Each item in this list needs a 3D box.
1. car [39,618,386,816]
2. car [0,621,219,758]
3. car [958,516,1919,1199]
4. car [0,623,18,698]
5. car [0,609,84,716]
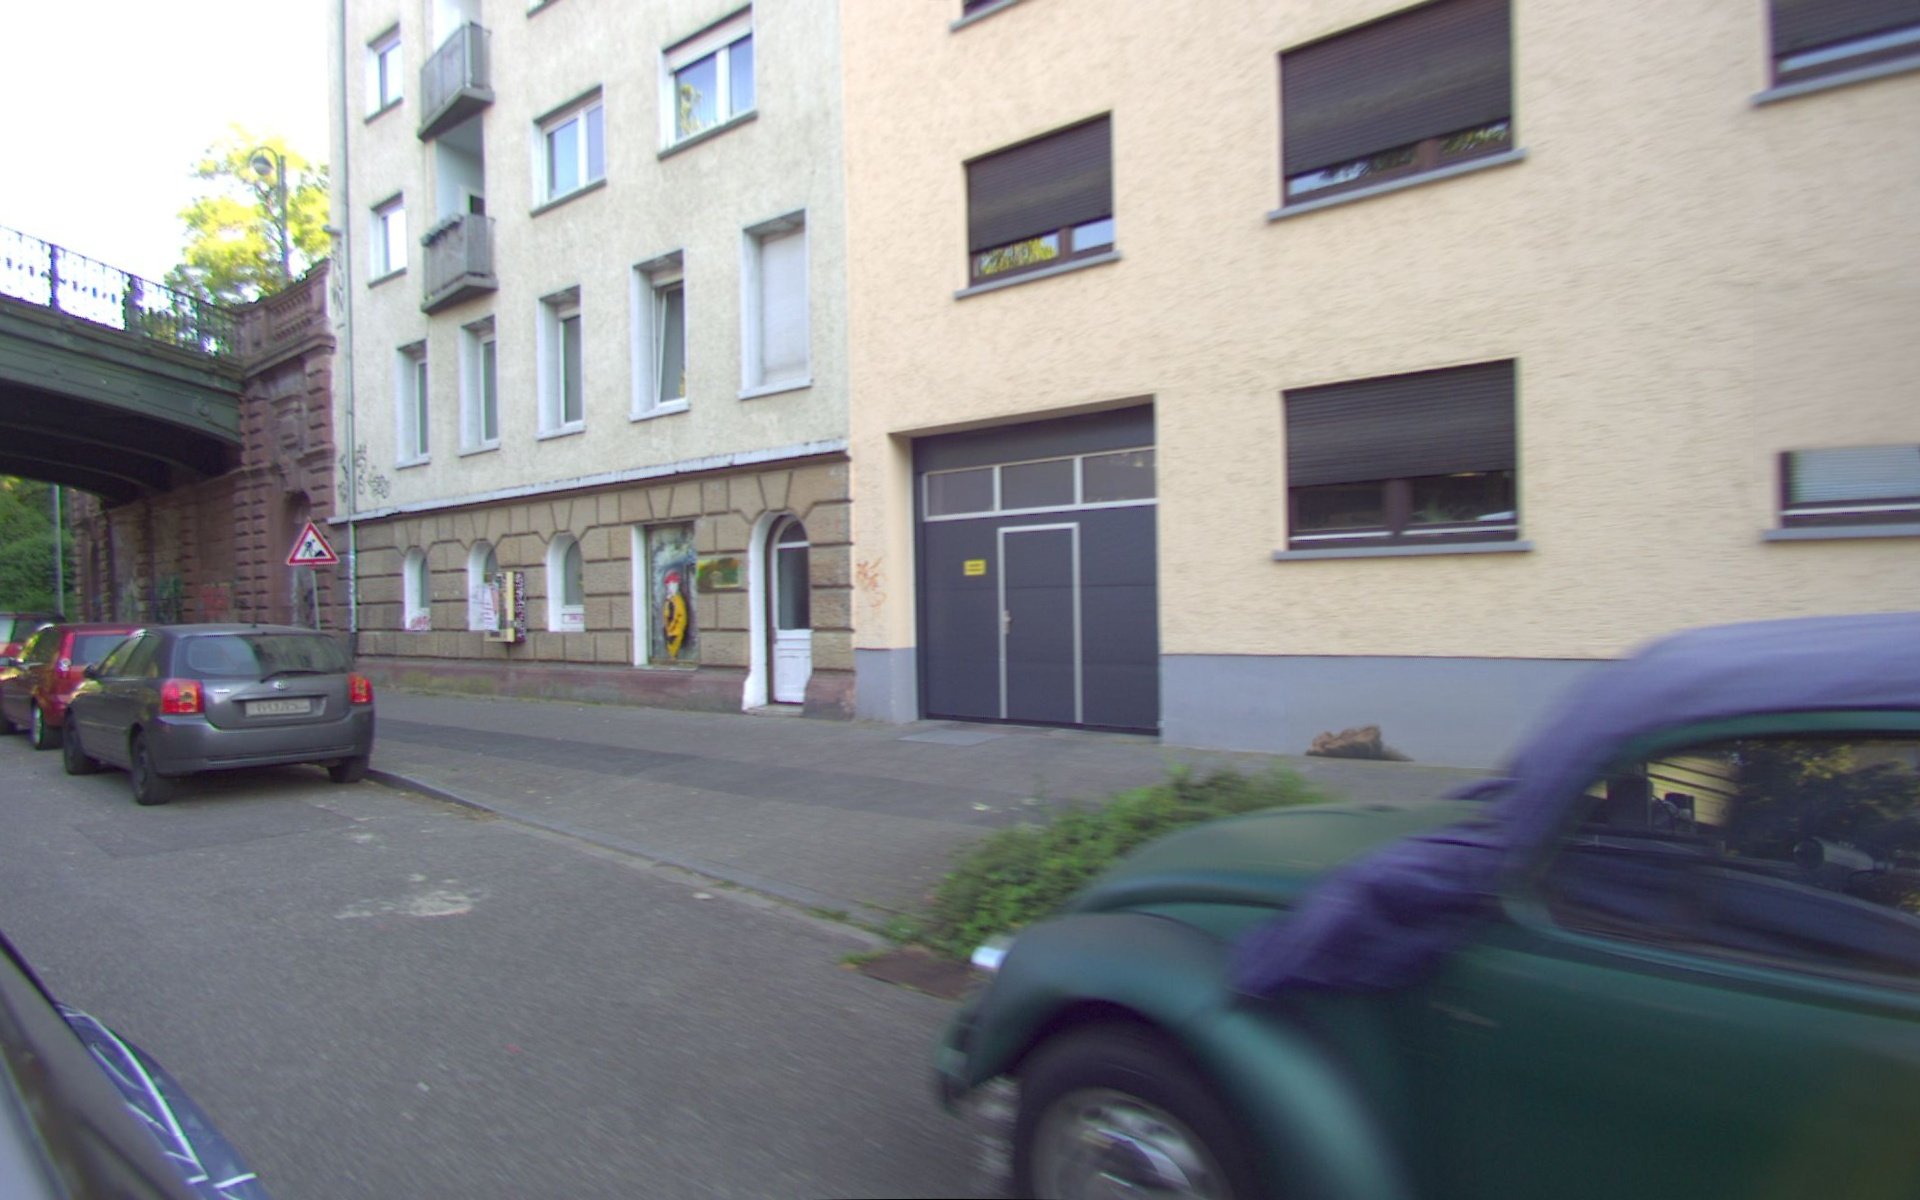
[{"bbox_3d":[-7.094,0.937,9.467,3.995,1.478,1.620,-1,-3,39],"label":"car"},{"bbox_3d":[-11.122,1.018,12.944,3.995,1.452,1.673,-1,0,39],"label":"car"},{"bbox_3d":[1.943,0.653,1.599,3.779,1.529,1.551,-1,-1,40],"label":"car"},{"bbox_3d":[-21.083,1.235,20.997,3.995,1.475,1.700,-1,-1,39],"label":"car"},{"bbox_3d":[-17.002,1.030,17.652,4.314,1.721,1.701,-1,-1,36],"label":"car"}]
